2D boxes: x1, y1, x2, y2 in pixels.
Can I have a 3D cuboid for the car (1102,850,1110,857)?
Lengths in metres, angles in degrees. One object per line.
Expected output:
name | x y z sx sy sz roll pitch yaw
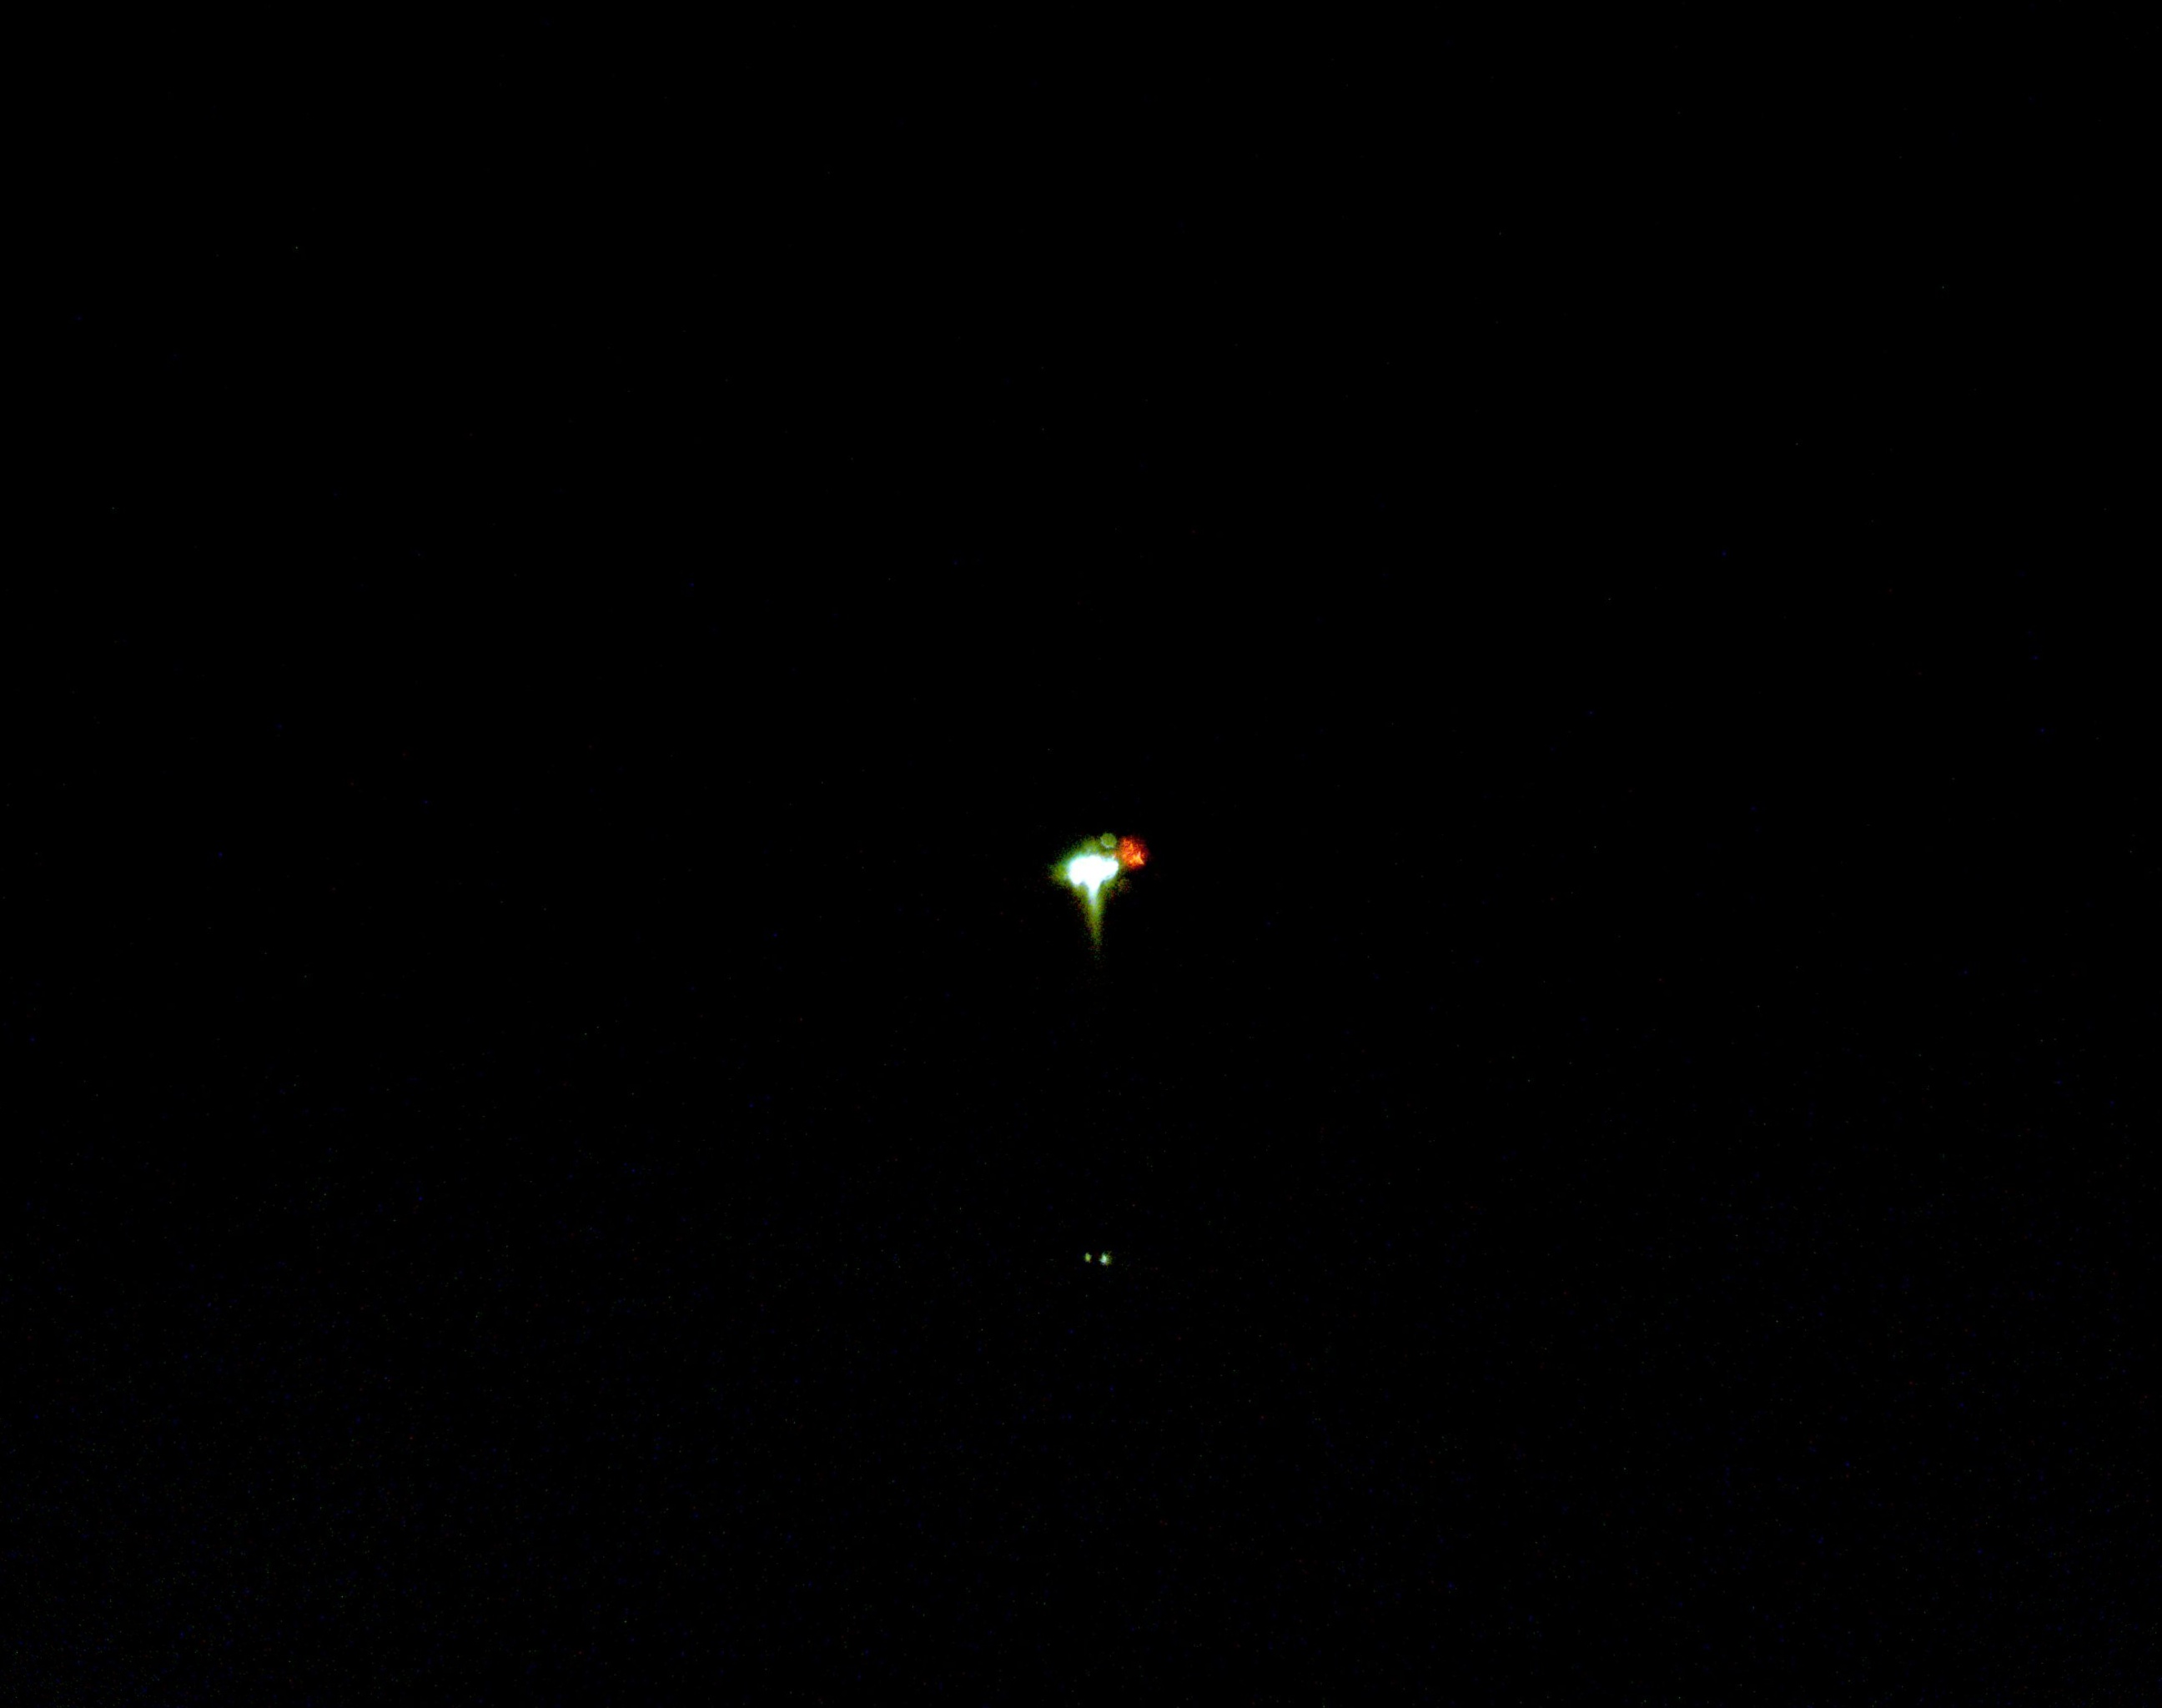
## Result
car | 6.746 -0.156 203.532 2.112 1.702 4.000 -3 1 1

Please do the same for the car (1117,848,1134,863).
car | 5.758 0.178 98.782 1.951 1.718 3.999 -3 1 1

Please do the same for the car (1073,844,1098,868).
car | 0.416 0.143 66.195 1.998 2.002 4.000 -3 1 1

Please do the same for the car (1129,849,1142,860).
car | 9.712 0.103 134.782 1.998 1.849 4.441 -3 1 1
